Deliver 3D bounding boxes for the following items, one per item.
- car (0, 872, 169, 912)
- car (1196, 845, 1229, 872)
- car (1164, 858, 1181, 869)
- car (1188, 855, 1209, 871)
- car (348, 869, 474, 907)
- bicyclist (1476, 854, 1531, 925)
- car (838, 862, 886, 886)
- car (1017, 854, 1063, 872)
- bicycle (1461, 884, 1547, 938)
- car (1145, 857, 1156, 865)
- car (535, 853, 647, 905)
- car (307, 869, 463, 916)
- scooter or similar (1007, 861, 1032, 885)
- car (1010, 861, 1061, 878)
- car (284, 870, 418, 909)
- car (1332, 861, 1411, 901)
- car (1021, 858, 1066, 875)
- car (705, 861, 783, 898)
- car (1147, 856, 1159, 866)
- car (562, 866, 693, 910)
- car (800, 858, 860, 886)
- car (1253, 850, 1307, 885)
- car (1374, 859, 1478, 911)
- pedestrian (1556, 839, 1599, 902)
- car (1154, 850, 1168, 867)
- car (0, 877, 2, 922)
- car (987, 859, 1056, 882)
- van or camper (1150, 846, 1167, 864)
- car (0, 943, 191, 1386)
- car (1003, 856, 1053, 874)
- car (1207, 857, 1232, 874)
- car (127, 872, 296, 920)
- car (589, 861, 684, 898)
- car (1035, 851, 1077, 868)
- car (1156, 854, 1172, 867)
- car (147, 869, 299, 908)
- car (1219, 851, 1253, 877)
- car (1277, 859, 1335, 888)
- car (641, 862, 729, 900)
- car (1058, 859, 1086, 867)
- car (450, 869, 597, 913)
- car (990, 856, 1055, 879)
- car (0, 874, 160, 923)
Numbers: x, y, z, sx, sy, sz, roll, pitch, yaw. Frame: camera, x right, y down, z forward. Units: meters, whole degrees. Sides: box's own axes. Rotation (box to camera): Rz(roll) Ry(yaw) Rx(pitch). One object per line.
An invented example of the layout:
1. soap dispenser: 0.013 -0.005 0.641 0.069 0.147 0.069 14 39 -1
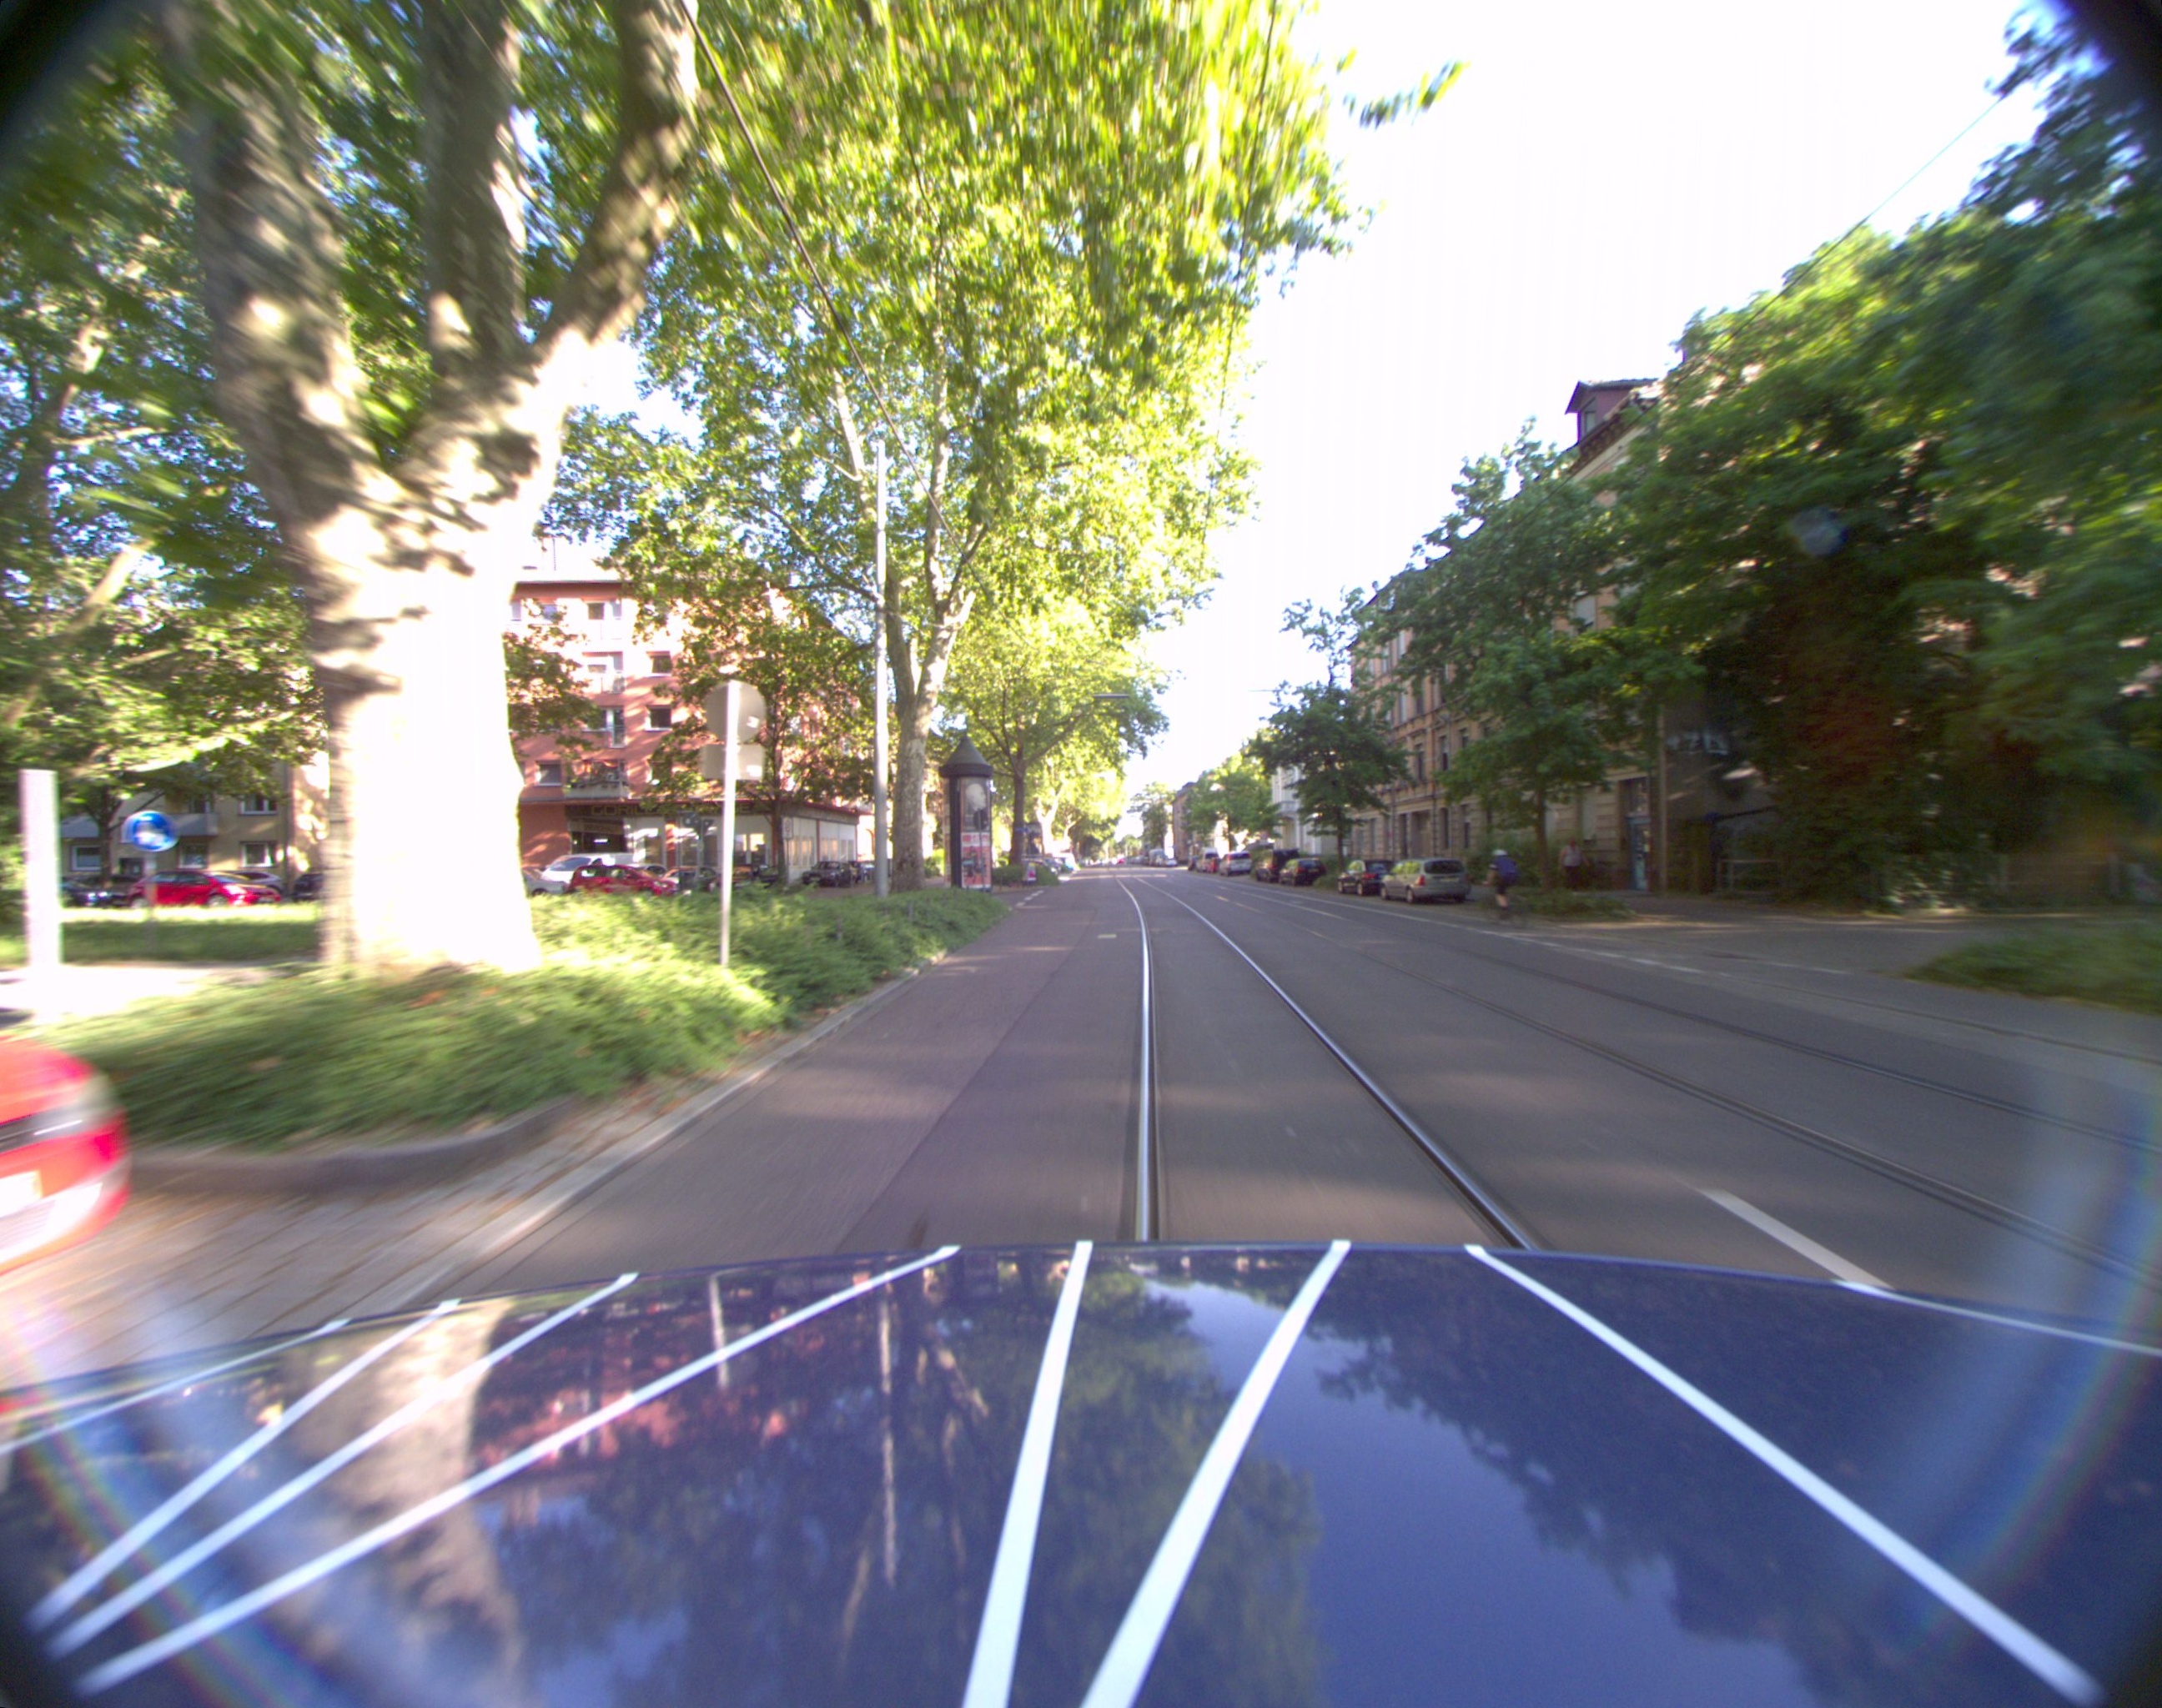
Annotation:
1. car: -44.660 1.661 34.193 1.794 1.565 4.577 0 0 -2
2. car: 12.924 0.439 75.105 2.310 2.493 5.343 -1 0 0
3. car: 13.417 1.392 111.752 1.776 1.483 4.941 -2 0 -1
4. car: 13.044 0.988 84.567 1.997 1.680 4.263 -1 0 4
5. car: -30.468 1.503 34.766 1.794 1.565 4.577 0 0 -2
6. bicyclist: 9.057 0.740 16.309 0.642 1.447 0.837 2 0 1
7. car: -13.839 1.214 48.251 1.753 1.426 3.951 0 0 2
8. car: -3.884 0.871 72.476 4.211 1.609 1.878 -1 0 -1
9. bicycle: 9.029 1.196 16.323 0.642 0.981 2.101 2 0 1
10. car: 14.304 1.429 157.165 1.791 1.462 4.435 -2 0 0
11. car: -22.420 1.089 35.057 1.917 2.171 5.084 0 0 -2
12. car: -24.494 1.329 26.839 3.927 1.572 1.683 0 0 -1
13. scooter or similar: -3.116 0.962 38.511 1.211 1.232 0.569 0 1 0
14. car: -3.880 1.322 65.261 4.210 1.439 1.818 -1 0 1
15. car: -32.824 1.553 34.378 1.794 1.565 4.577 0 0 -2
16. car: 11.495 1.009 30.318 1.662 1.436 3.949 -2 0 1
17. car: -3.701 1.248 75.088 4.209 1.609 1.818 -1 0 4
18. car: -15.348 1.124 34.846 1.794 1.565 4.576 0 0 -4
19. car: 13.949 1.314 147.123 1.791 1.743 4.435 -2 0 0
20. car: -15.772 1.153 26.547 3.547 1.444 1.683 0 0 -1
21. car: -13.828 0.960 42.124 1.753 1.426 4.468 0 0 2
22. car: 12.009 0.775 46.155 1.998 2.002 4.834 -1 0 0
23. car: 11.360 0.954 25.389 1.703 1.541 4.537 -2 0 5
24. pedestrian: 15.068 0.500 23.066 0.743 1.836 0.728 -2 0 0
25. car: 13.485 0.773 128.265 1.927 2.730 4.547 -5 0 2
26. car: -40.516 1.633 26.276 3.927 1.572 1.683 0 0 -1
27. car: -4.046 1.120 52.193 4.411 1.533 1.819 -1 0 8
28. van or camper: 13.789 0.193 135.191 2.423 2.960 5.992 -5 0 2
29. car: -5.571 1.085 2.359 3.893 1.415 1.649 -1 0 4
30. car: -4.723 0.951 67.803 4.209 1.546 1.818 -1 0 4
31. car: 12.766 1.023 70.356 1.689 1.530 3.708 -1 0 1
32. car: -30.388 1.454 26.626 3.927 1.572 1.683 0 0 -1
33. car: -20.196 1.091 34.797 1.794 1.565 4.577 0 0 -2
34. car: -2.988 0.679 90.339 4.859 2.002 2.194 1 0 -2
35. car: 13.375 1.044 122.328 1.927 2.034 4.941 -2 0 0
36. car: -38.598 1.494 34.403 1.794 1.565 4.577 0 0 -2
37. car: 12.229 0.797 60.347 1.848 1.977 4.989 -1 0 2
38. car: 11.981 1.009 40.776 1.857 1.450 4.270 -1 0 0
39. car: -17.580 1.161 33.996 1.794 1.565 4.576 0 0 -4
40. car: -1.447 1.534 129.519 4.610 1.485 1.894 0 -1 4
41. car: -19.681 1.289 26.919 3.927 1.444 1.683 0 0 -1
42. car: -4.153 0.979 54.769 4.413 1.533 1.952 -1 0 4
43. car: -34.965 1.519 26.356 3.927 1.572 1.683 0 0 -1
